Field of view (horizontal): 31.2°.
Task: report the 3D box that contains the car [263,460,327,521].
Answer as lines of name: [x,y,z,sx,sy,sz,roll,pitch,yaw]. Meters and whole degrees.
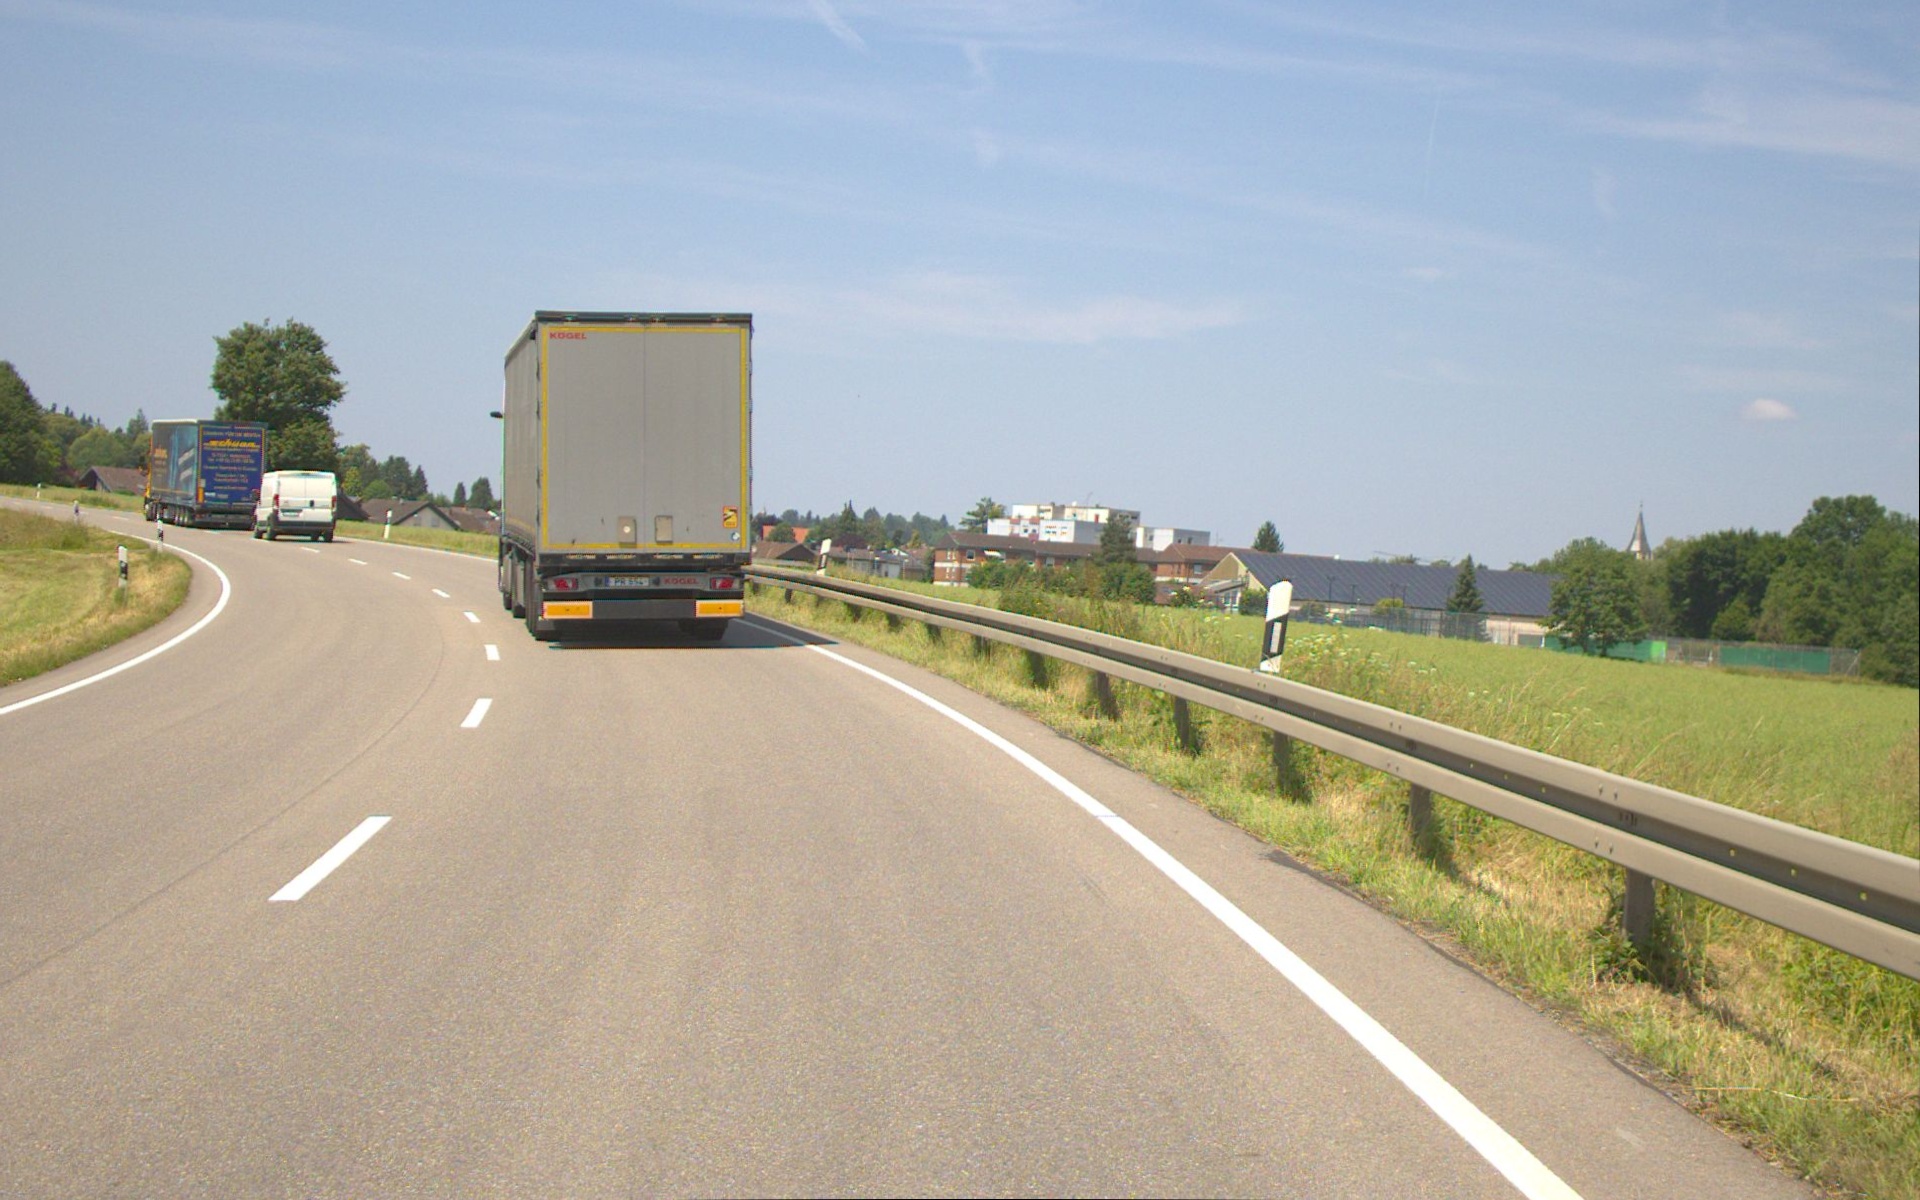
car: [-21.350,-3.504,110.303,1.725,1.866,4.002,2,2,-15]

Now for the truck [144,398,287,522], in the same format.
truck: [-29.192,-5.351,134.050,3.548,4.377,18.128,2,1,-18]

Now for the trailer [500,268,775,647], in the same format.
trailer: [-4.643,-1.860,46.745,2.866,4.385,13.497,0,2,-9]

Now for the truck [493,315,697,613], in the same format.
truck: [-5.769,-2.083,53.701,2.858,4.385,5.073,1,1,-9]
